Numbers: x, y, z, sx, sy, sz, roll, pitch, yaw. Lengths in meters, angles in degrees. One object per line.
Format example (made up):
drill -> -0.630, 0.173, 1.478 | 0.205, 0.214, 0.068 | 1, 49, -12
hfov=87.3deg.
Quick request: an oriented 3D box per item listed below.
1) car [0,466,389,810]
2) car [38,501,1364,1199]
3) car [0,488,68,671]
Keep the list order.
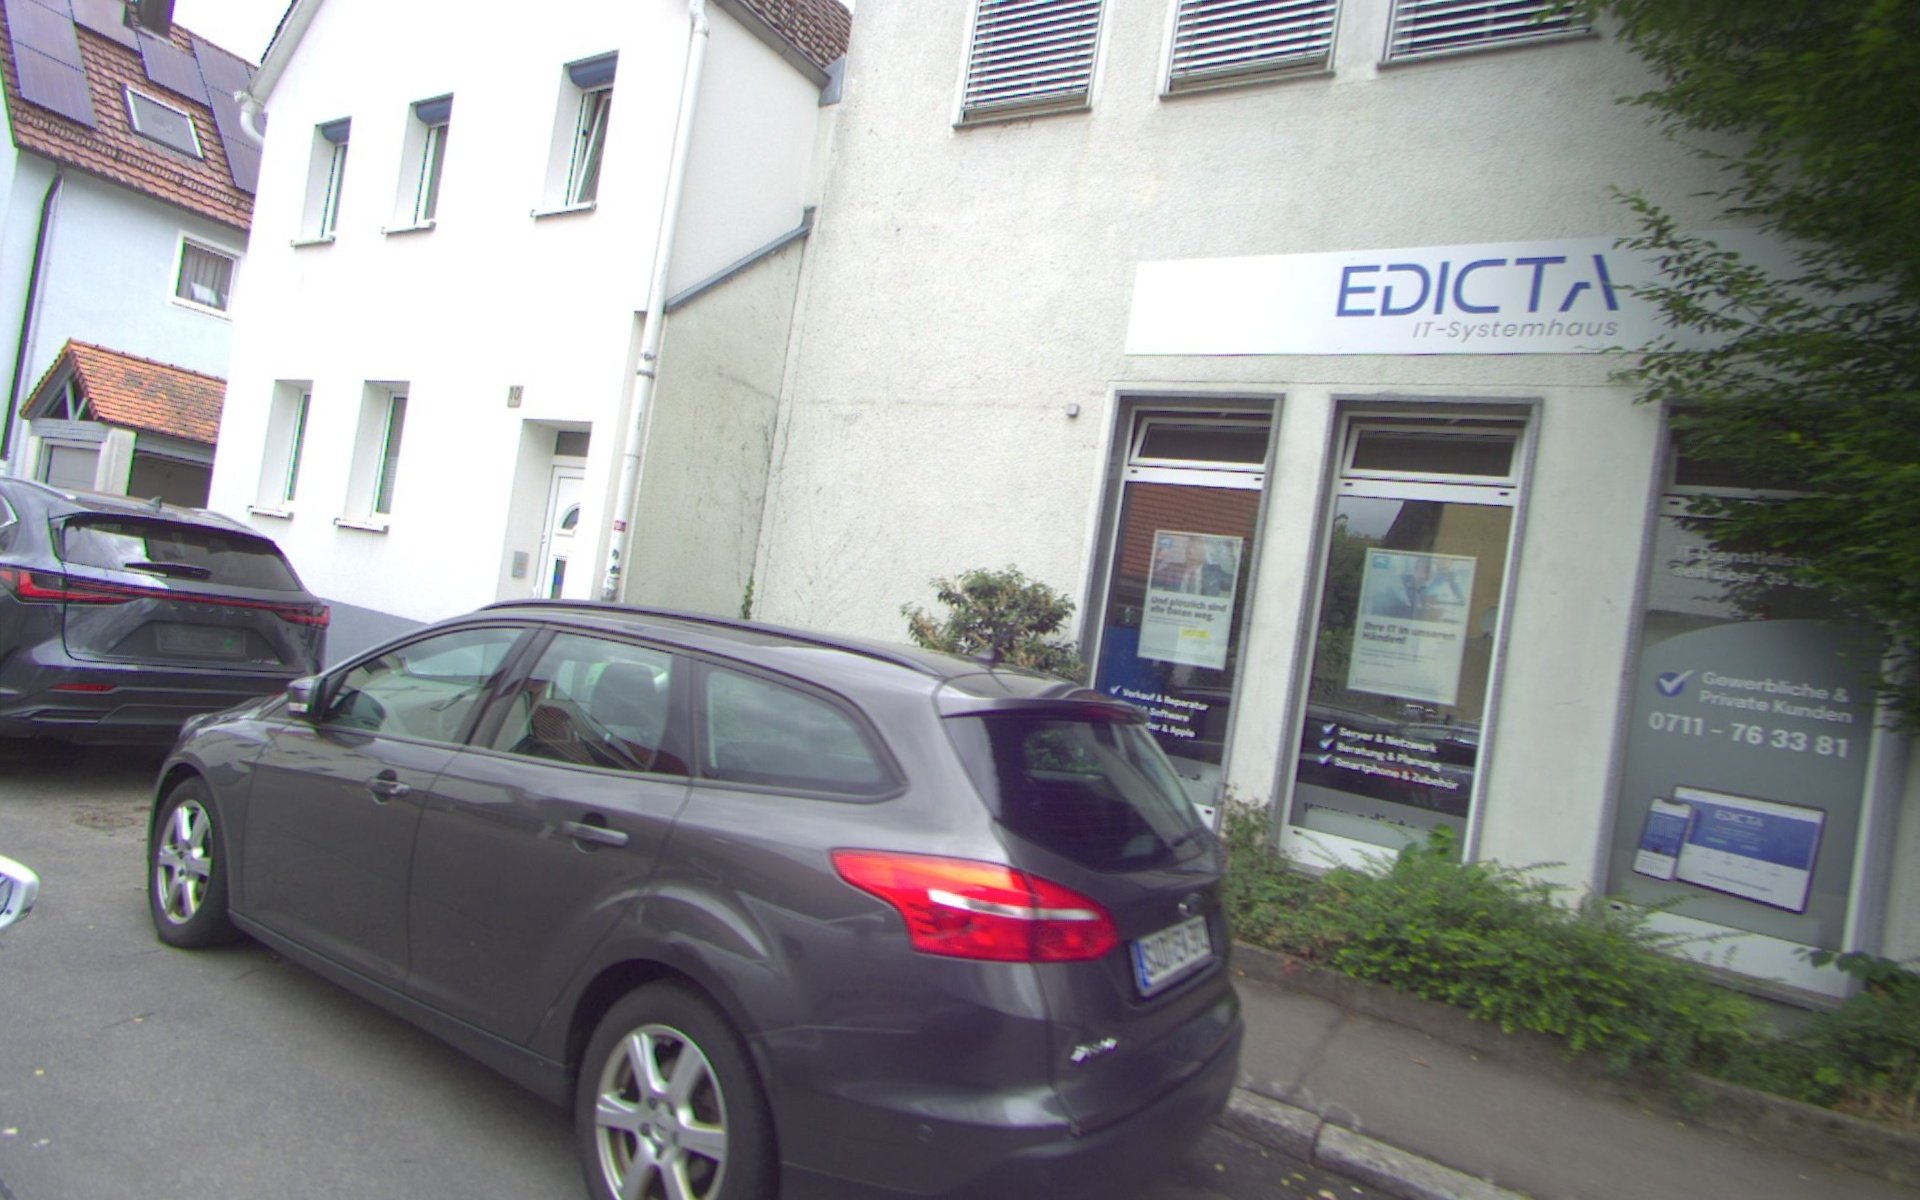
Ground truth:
car -> -6.247, 0.045, 6.801 | 4.819, 1.652, 1.867 | 7, -2, 31
car -> -1.246, 0.700, 3.774 | 4.741, 1.524, 1.953 | 7, -3, 32
car -> -11.076, -0.523, 9.946 | 4.799, 1.633, 1.999 | 7, -3, 33
